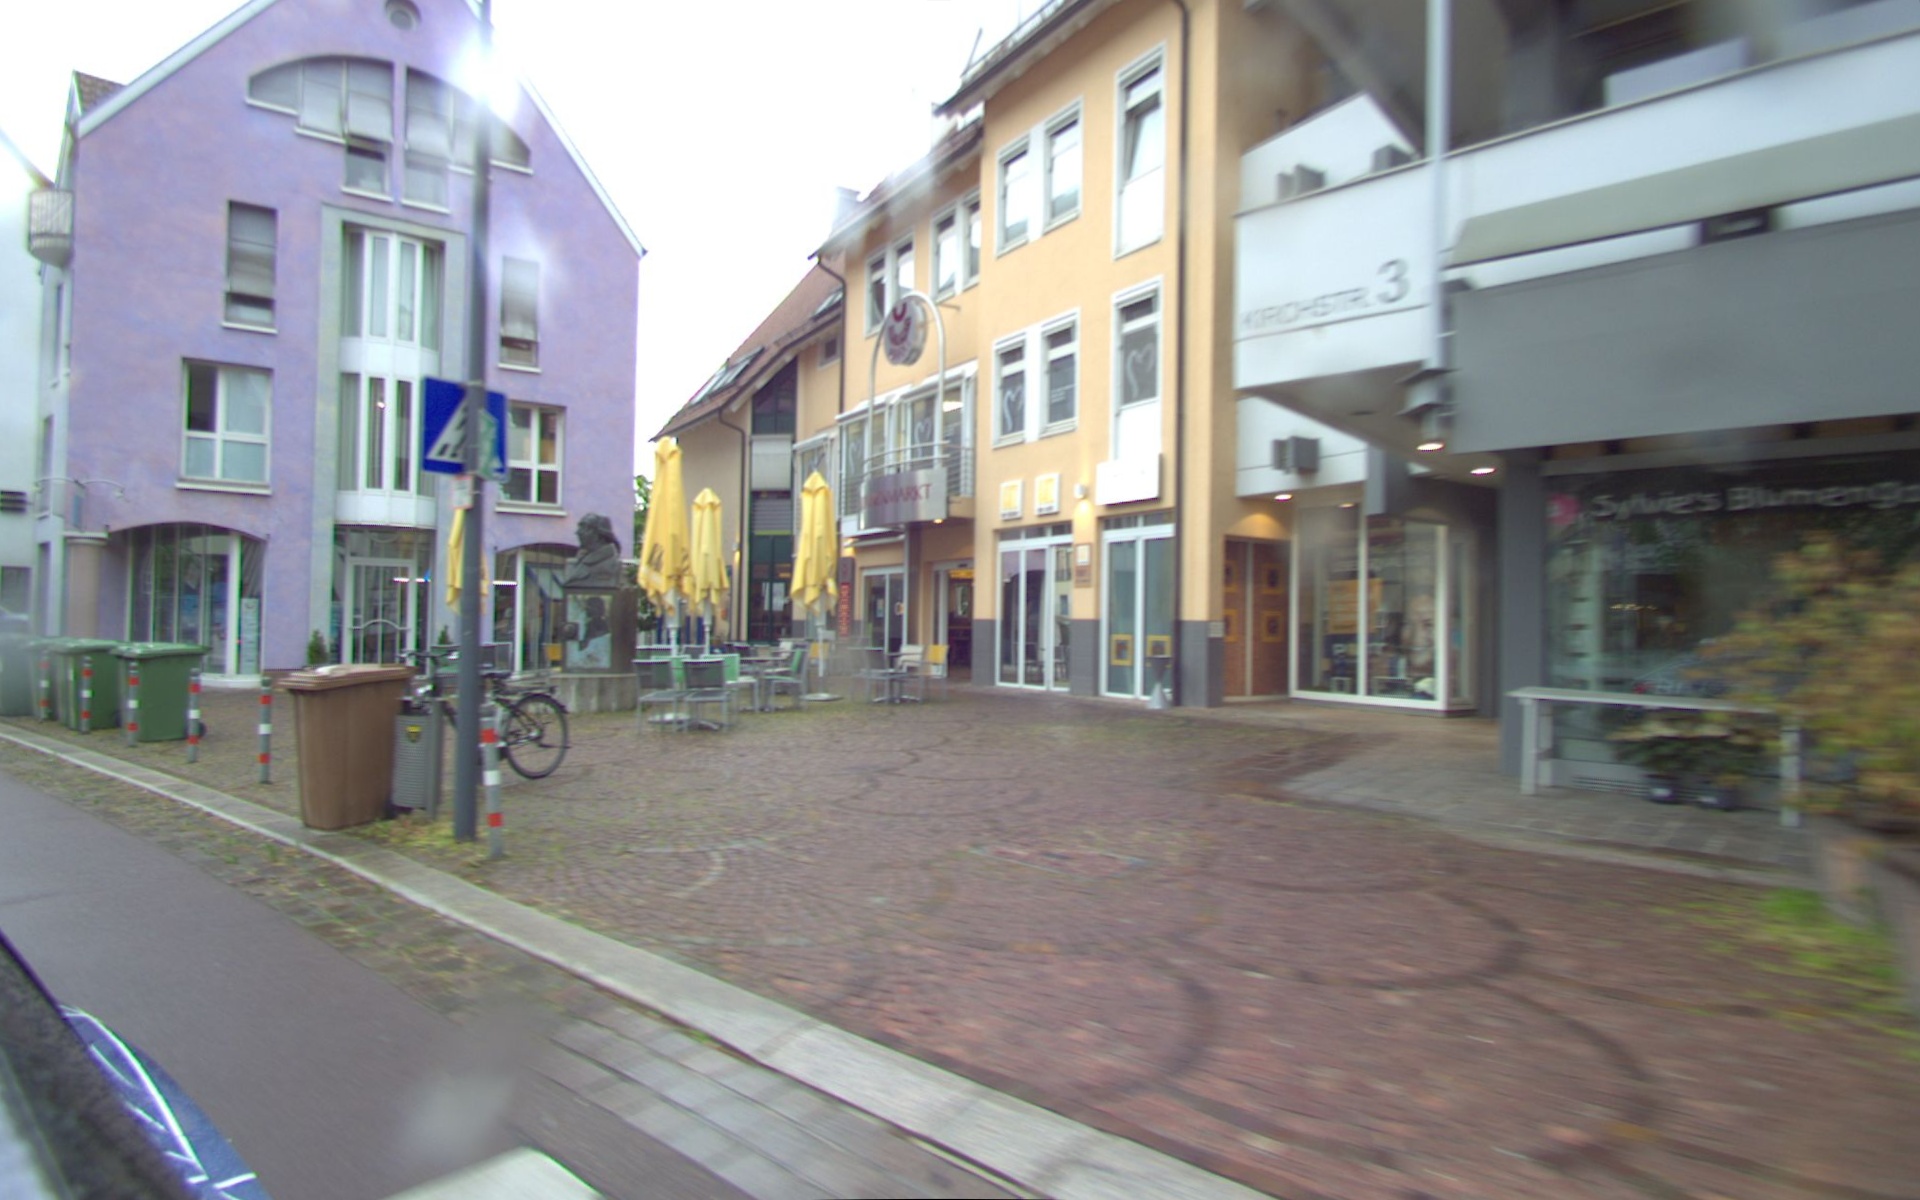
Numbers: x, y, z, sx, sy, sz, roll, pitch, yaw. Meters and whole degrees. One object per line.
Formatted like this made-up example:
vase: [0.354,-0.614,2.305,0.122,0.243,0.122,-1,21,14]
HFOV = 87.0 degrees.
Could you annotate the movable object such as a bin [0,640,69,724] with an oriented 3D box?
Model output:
movable object such as a bin: [-12.821,1.108,13.911,0.667,1.089,0.681,0,-1,33]

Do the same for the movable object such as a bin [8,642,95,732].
movable object such as a bin: [-11.853,1.112,13.208,0.667,1.114,0.681,0,-1,33]

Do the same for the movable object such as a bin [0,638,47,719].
movable object such as a bin: [-13.570,1.107,14.396,0.710,1.095,0.681,0,-1,33]

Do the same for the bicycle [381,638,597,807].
bicycle: [-3.765,0.923,8.260,0.441,1.173,1.739,2,0,22]

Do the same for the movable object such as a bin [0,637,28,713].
movable object such as a bin: [-14.193,1.089,14.780,0.675,1.086,0.681,0,-1,33]

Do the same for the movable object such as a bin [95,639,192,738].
movable object such as a bin: [-9.470,1.003,11.741,0.667,1.084,0.681,0,-1,33]

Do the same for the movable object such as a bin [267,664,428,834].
movable object such as a bin: [-4.130,0.972,6.854,0.628,1.028,0.683,0,-1,24]

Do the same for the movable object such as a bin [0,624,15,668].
movable object such as a bin: [-22.478,1.063,23.532,0.480,0.996,0.574,2,0,-13]

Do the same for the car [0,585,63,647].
car: [-26.252,0.387,26.615,3.937,1.595,1.836,2,0,-42]

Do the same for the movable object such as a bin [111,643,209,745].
movable object such as a bin: [-8.900,1.021,11.265,0.668,1.050,0.680,0,-1,35]

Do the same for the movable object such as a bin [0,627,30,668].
movable object such as a bin: [-21.756,1.081,23.237,0.448,0.902,0.456,2,0,30]

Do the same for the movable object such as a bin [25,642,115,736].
movable object such as a bin: [-11.220,1.095,12.762,0.667,1.114,0.681,0,-1,33]

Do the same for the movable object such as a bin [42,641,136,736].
movable object such as a bin: [-10.558,1.046,12.271,0.667,1.082,0.681,0,-1,33]
